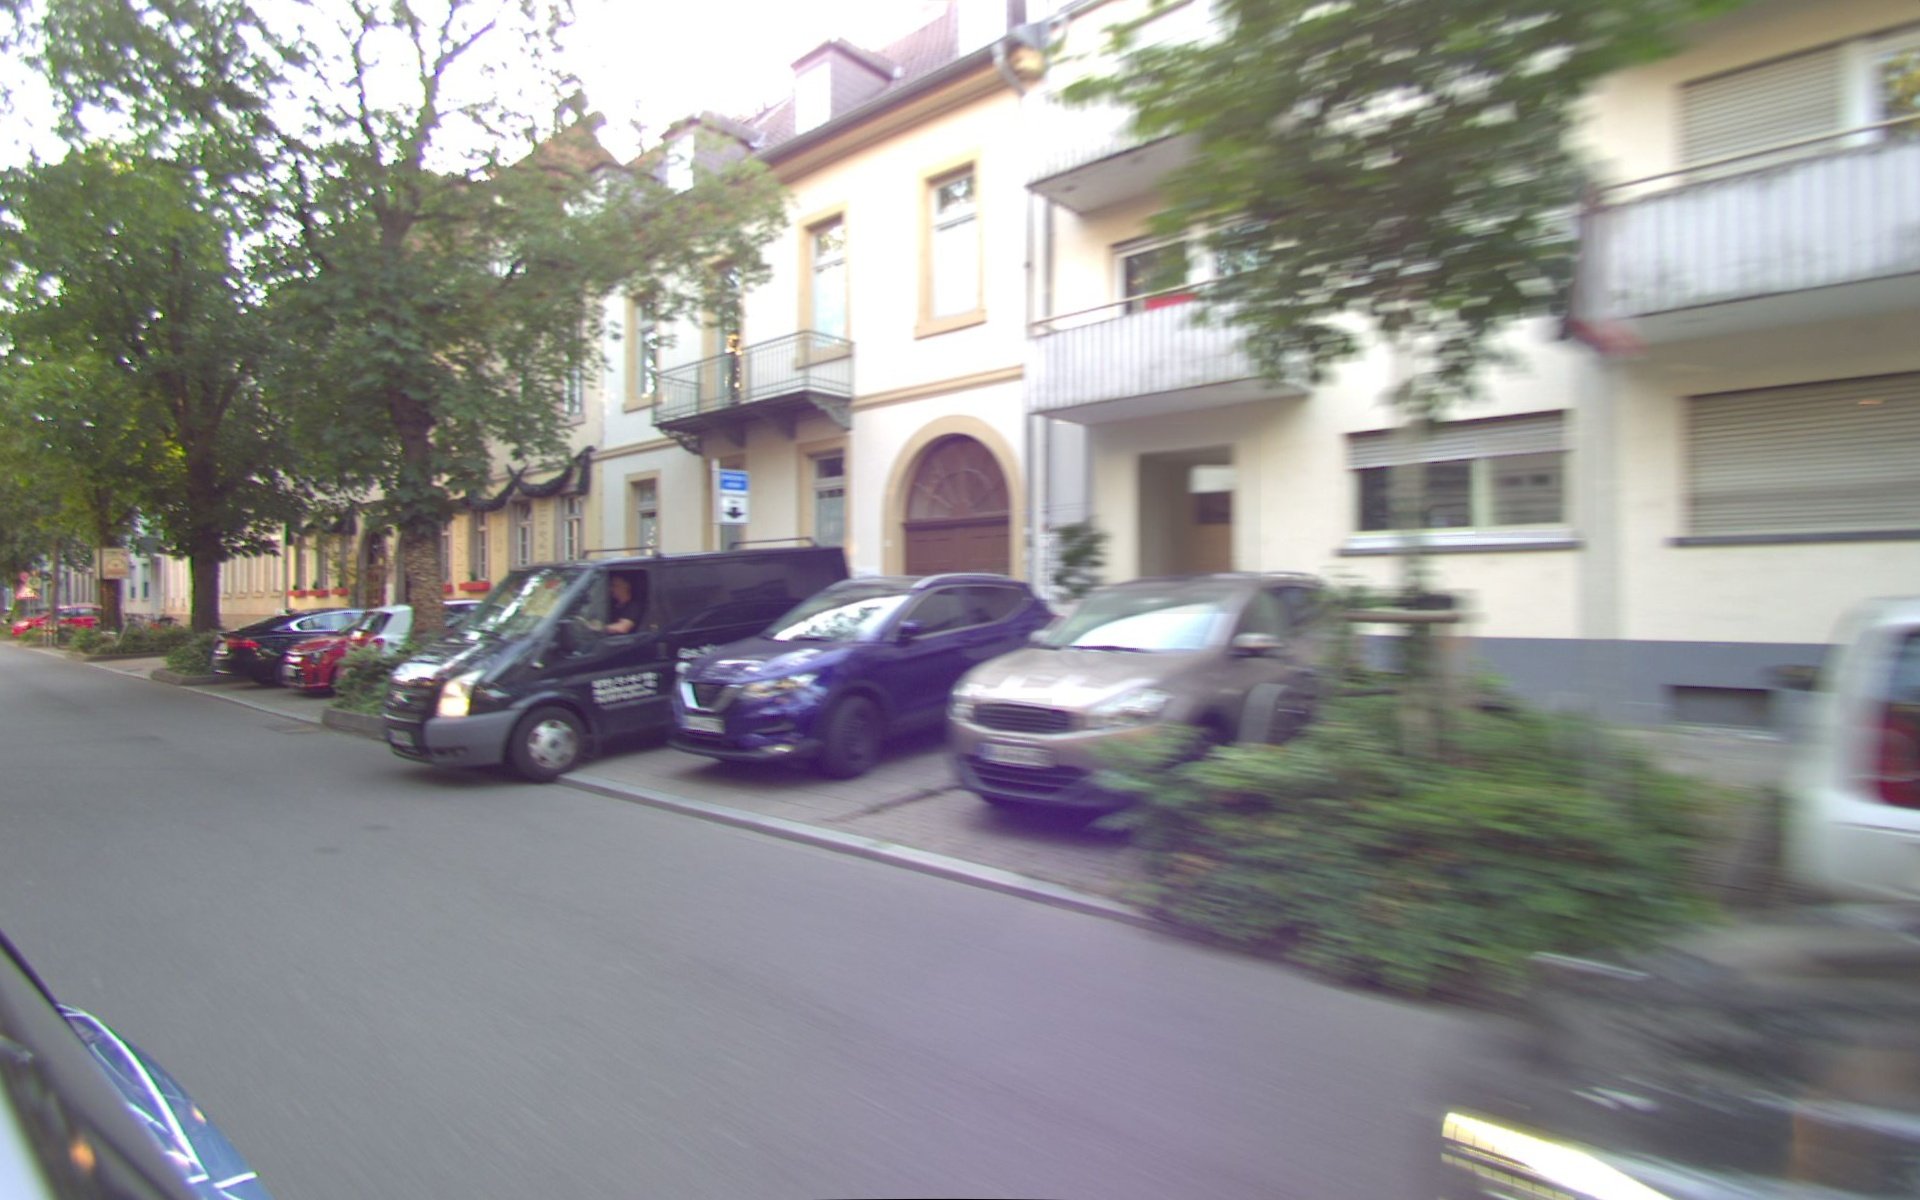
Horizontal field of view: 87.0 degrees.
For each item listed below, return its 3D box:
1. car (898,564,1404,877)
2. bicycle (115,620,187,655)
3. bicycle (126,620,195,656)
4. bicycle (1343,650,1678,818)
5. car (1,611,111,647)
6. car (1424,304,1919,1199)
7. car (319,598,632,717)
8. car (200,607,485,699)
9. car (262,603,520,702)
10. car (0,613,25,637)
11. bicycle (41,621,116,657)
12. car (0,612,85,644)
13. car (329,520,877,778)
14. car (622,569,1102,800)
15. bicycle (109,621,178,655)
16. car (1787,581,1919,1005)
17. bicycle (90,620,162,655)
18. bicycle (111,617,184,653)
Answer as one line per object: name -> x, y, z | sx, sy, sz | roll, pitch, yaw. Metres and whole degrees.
car -> 1.656, 0.597, 7.532 | 1.823, 1.603, 4.111 | -1, 2, 42
bicycle -> -27.816, 1.286, 34.810 | 0.508, 1.107, 1.847 | -1, 1, 35
bicycle -> -26.284, 1.232, 33.302 | 0.479, 1.107, 1.692 | -1, 1, 35
bicycle -> 3.565, 0.809, 6.648 | 1.813, 0.880, 0.738 | -1, 0, 41
car -> -40.607, 1.273, 45.528 | 1.671, 1.416, 3.454 | -1, 1, 39
car -> 2.856, 0.574, 0.276 | 4.643, 1.653, 1.857 | -1, -2, 41
car -> -7.860, 0.819, 16.743 | 1.771, 1.550, 4.309 | 0, 2, 42
car -> -11.791, 0.928, 19.603 | 1.716, 1.417, 4.382 | 1, 2, 38
car -> -10.045, 0.850, 18.055 | 1.659, 1.460, 3.645 | -1, 1, 42
car -> -61.072, 1.635, 63.368 | 1.590, 1.430, 3.506 | -1, 1, 42
bicycle -> -30.207, 1.325, 34.709 | 0.479, 1.106, 1.847 | -1, 1, 35
car -> -47.050, 1.429, 51.554 | 1.589, 1.430, 3.508 | -1, 1, 39
car -> -3.397, 0.411, 10.482 | 2.189, 2.006, 4.938 | -1, -1, 41
car -> -0.692, 0.568, 9.535 | 1.930, 1.584, 4.309 | -1, 2, 42
bicycle -> -29.334, 1.360, 36.382 | 0.479, 1.107, 1.847 | -1, 1, 35
car -> 5.020, 0.629, 4.526 | 1.854, 1.462, 3.804 | -2, -1, 42
bicycle -> -28.992, 1.295, 35.203 | 0.479, 1.107, 1.847 | -1, 1, 35
bicycle -> -27.423, 1.175, 34.184 | 0.479, 1.107, 1.847 | -1, 1, 35
